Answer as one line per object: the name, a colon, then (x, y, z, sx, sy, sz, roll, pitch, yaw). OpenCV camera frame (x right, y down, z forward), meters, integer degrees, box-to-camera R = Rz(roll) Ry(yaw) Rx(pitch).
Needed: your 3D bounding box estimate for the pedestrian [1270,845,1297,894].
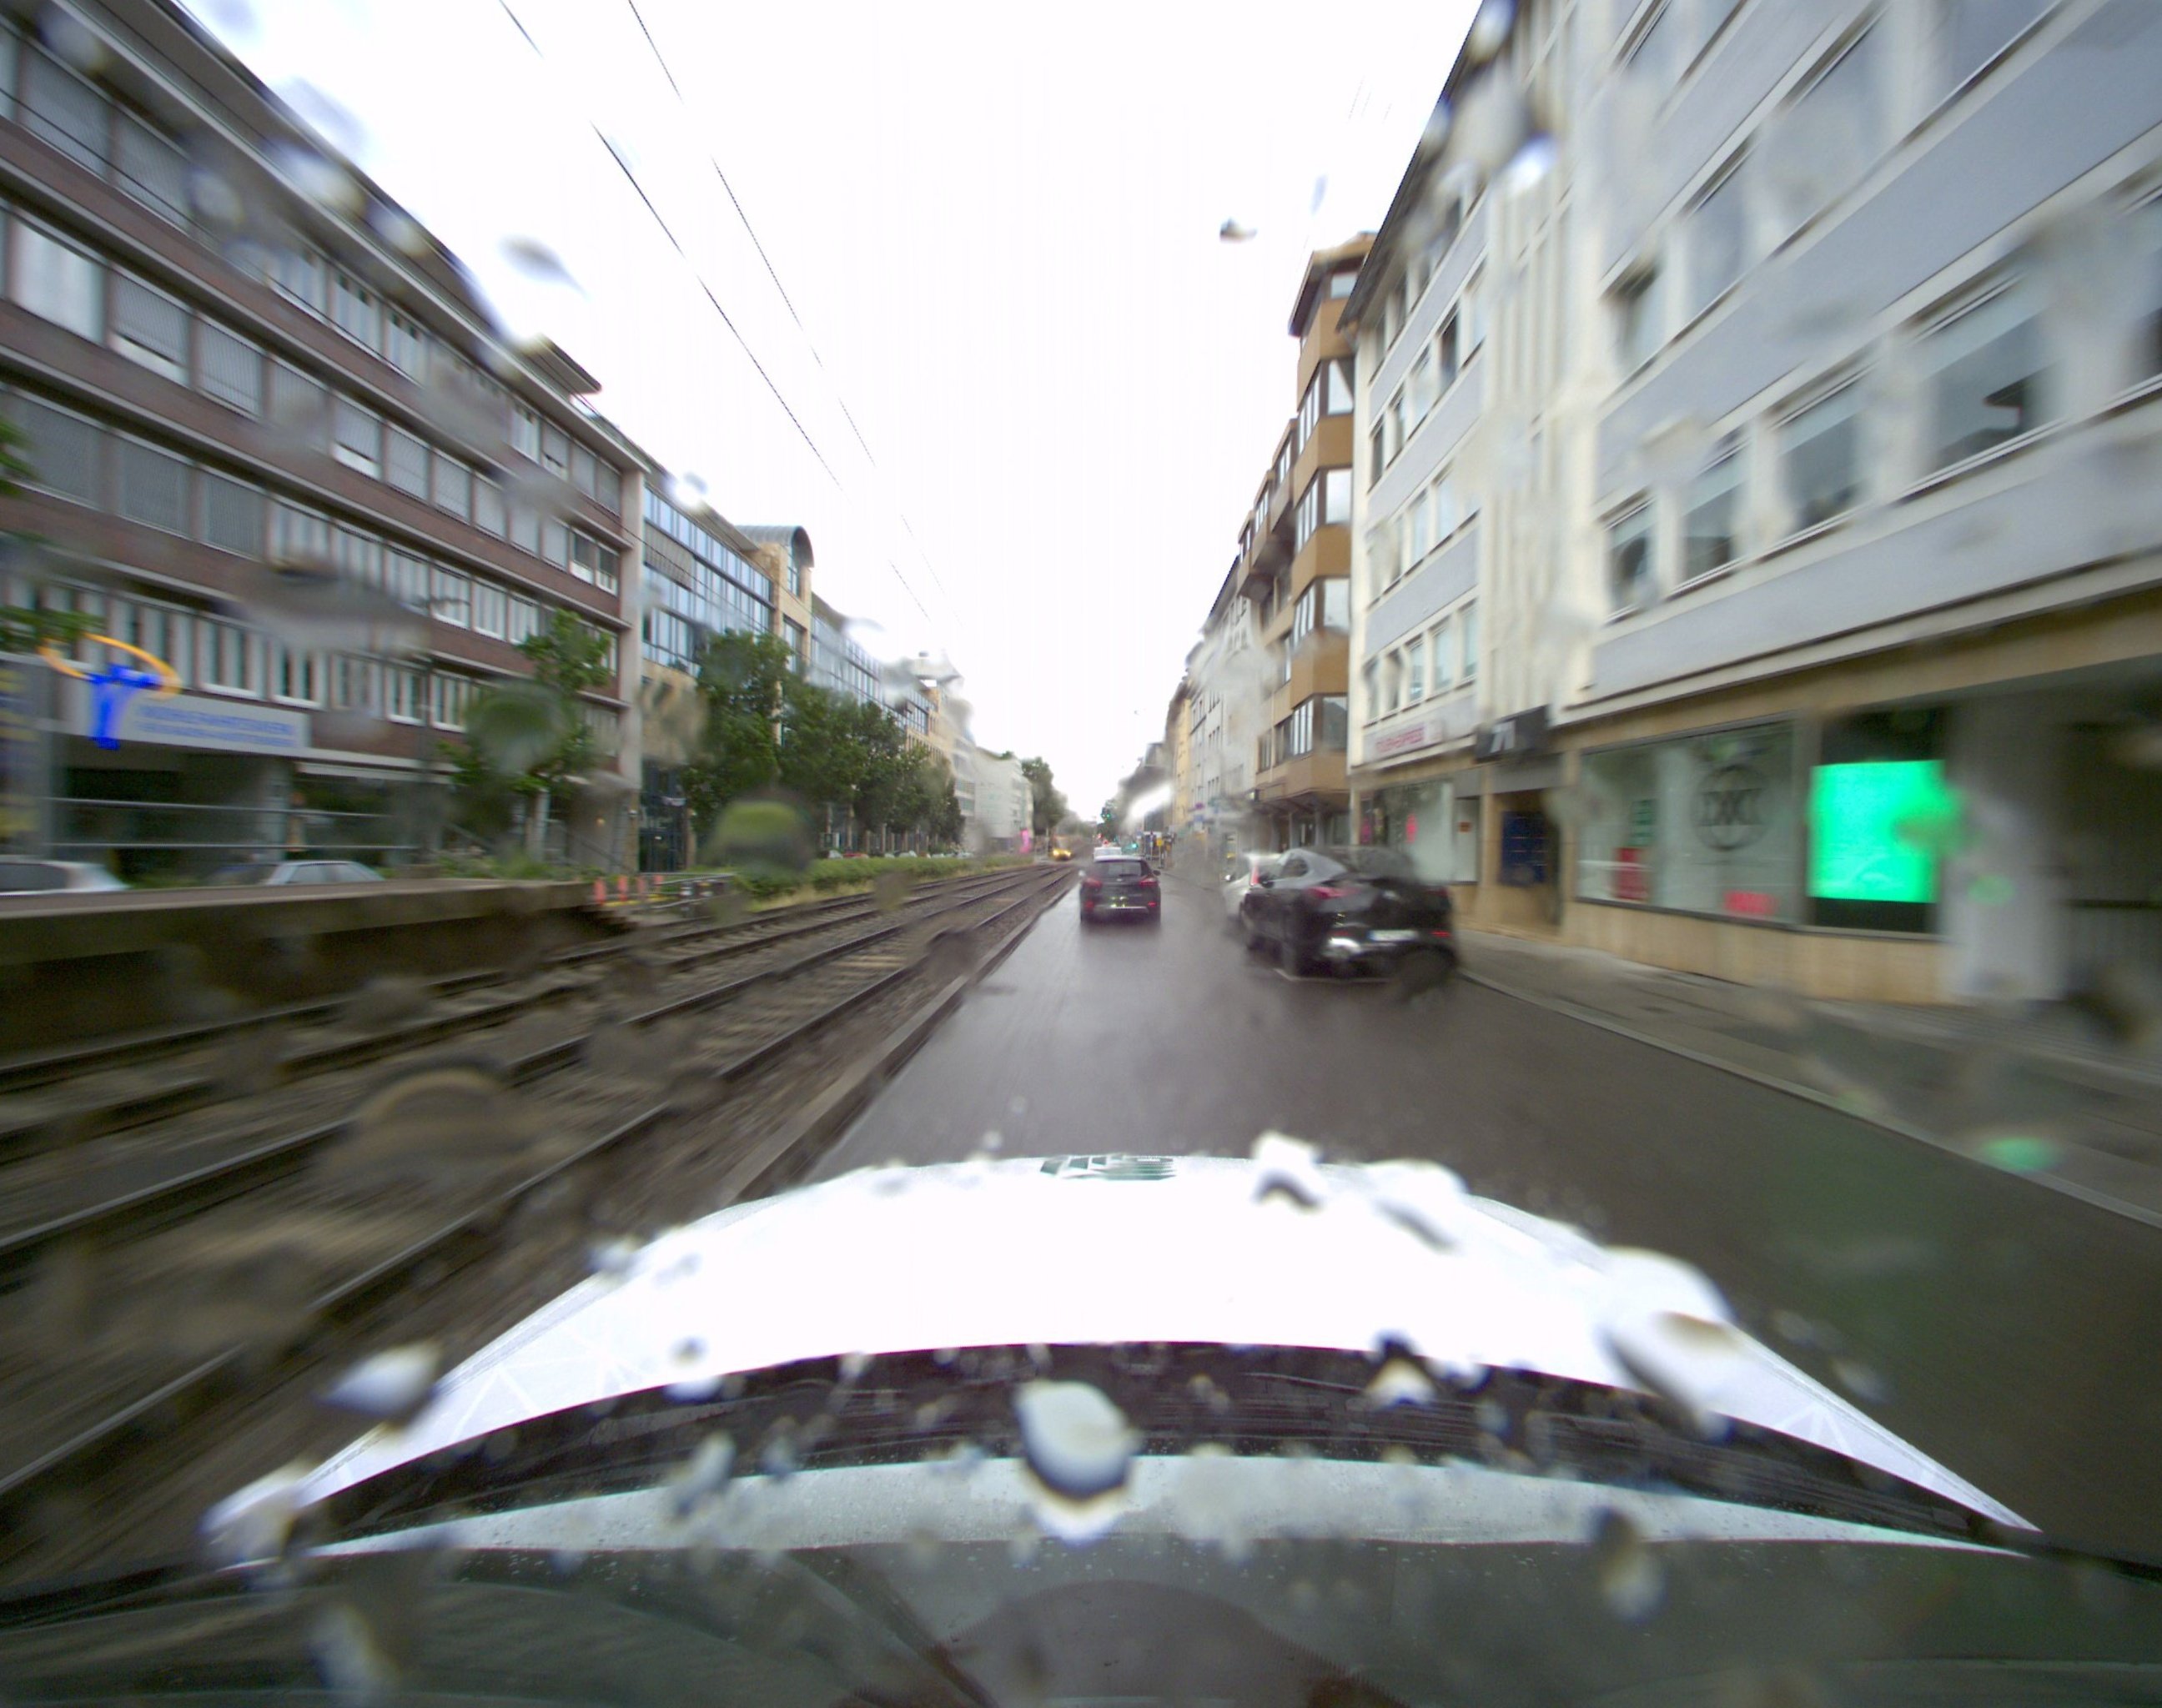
pedestrian: (6.941, 0.520, 27.941, 0.693, 1.652, 0.966, 0, 0, 1)

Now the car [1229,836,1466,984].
car: (3.412, 0.617, 11.592, 1.801, 1.631, 5.171, 0, 0, 1)

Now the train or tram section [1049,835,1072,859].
train or tram section: (-3.326, -1.035, 133.451, 3.528, 3.777, 11.327, 0, 0, -1)

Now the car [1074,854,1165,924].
car: (0.879, 0.744, 18.852, 1.899, 1.462, 3.446, 0, -1, 2)

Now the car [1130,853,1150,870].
car: (5.953, 0.763, 82.996, 1.899, 1.633, 4.577, 0, -1, 3)

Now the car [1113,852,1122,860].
car: (8.016, 0.398, 176.698, 1.899, 1.633, 4.577, 0, -1, 3)

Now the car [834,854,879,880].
car: (-13.093, 0.726, 47.774, 1.564, 1.436, 4.175, 0, 0, -1)

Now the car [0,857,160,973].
car: (-14.262, 0.763, 9.808, 1.564, 1.436, 4.236, 0, 0, -1)

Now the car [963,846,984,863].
car: (-12.225, 0.083, 92.798, 1.901, 1.865, 4.571, 0, -1, -1)

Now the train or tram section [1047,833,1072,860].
train or tram section: (-3.173, -1.048, 122.117, 3.502, 3.777, 11.327, 0, 0, -1)

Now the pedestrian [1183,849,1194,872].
pedestrian: (7.260, 0.441, 55.004, 0.609, 1.537, 0.649, 0, 0, 1)

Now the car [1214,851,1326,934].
car: (3.688, 0.693, 16.424, 1.551, 1.476, 3.567, 0, 0, 2)

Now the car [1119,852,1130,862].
car: (7.732, 0.544, 144.985, 1.899, 1.633, 4.577, 0, -1, 3)

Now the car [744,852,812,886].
car: (-13.469, 0.635, 36.428, 1.564, 1.436, 4.175, 0, 0, -1)

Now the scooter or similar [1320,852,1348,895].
scooter or similar: (6.644, 0.493, 21.407, 0.209, 1.083, 1.231, 0, 0, -6)

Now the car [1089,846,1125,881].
car: (1.522, 0.548, 45.899, 1.898, 1.865, 4.577, 0, -1, 3)

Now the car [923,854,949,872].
car: (-12.295, 0.743, 69.463, 1.564, 1.436, 4.175, 0, 0, -1)

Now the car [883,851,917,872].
car: (-12.789, 0.540, 57.768, 1.564, 1.436, 4.175, 0, 0, -1)

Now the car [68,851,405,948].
car: (-14.296, 0.680, 14.207, 1.564, 1.436, 4.175, 0, 0, -1)
